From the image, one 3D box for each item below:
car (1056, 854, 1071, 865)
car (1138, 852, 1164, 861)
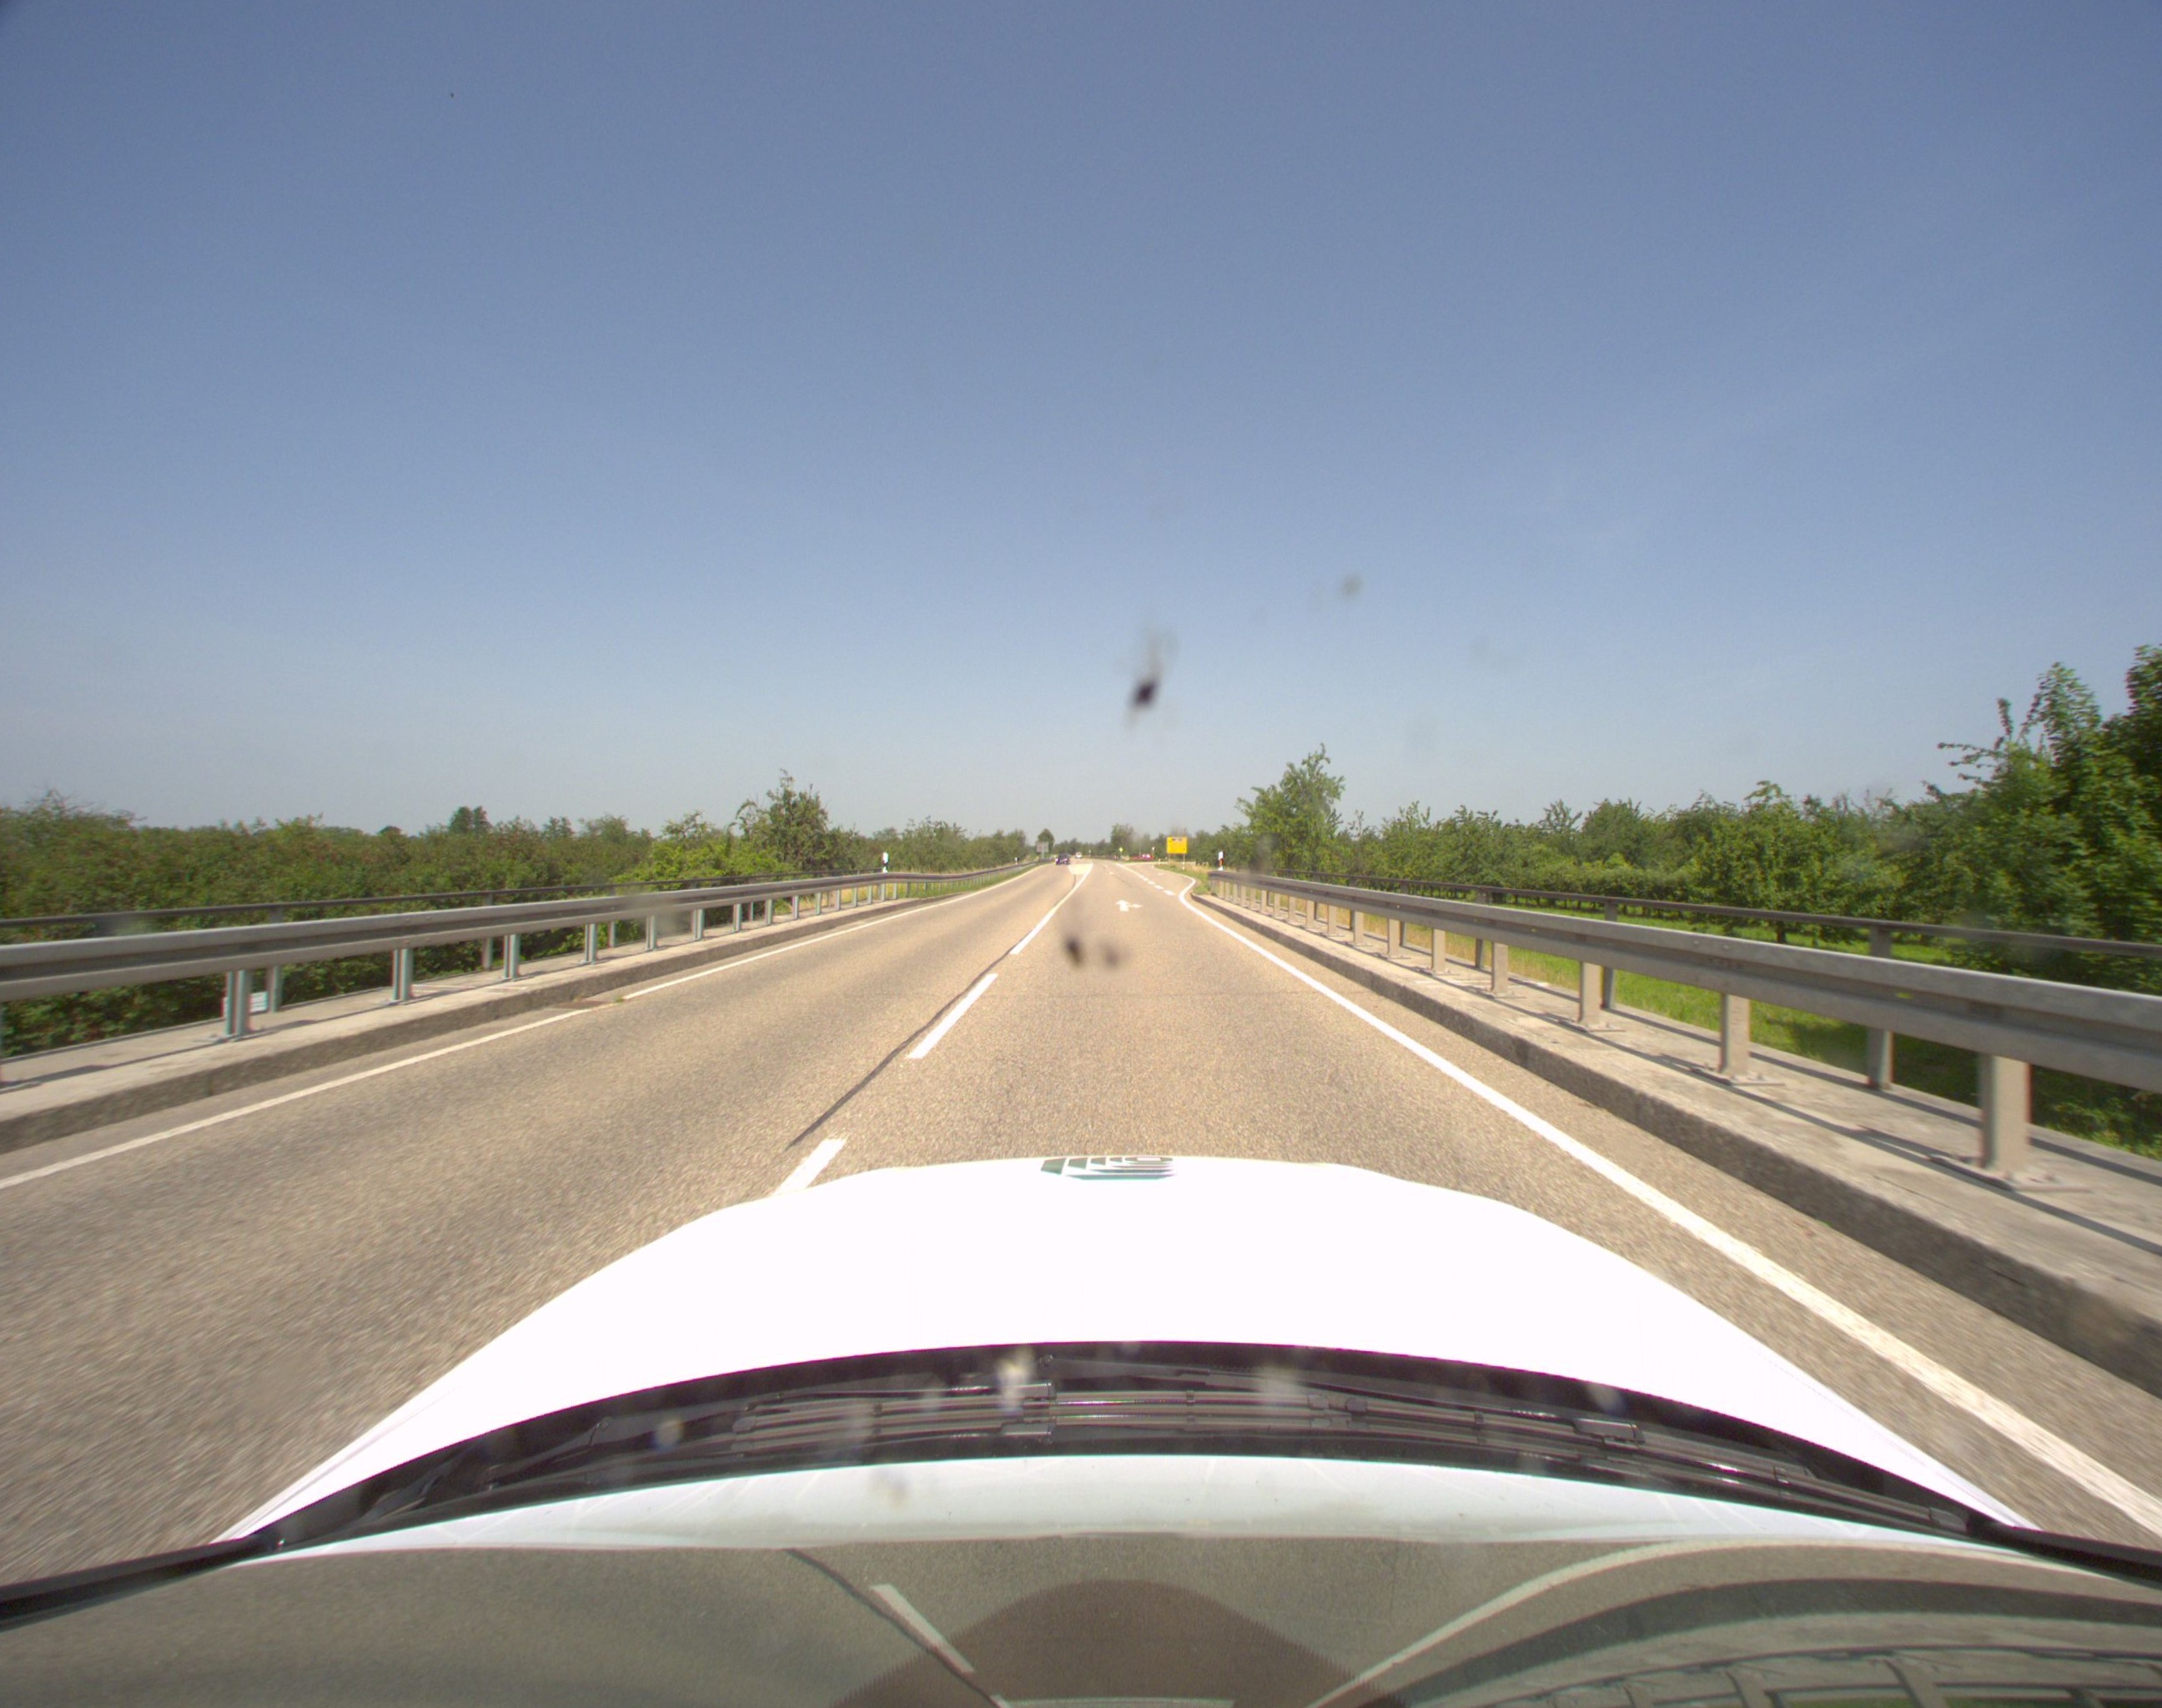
[{"bbox_3d":[-2.640,0.840,122.370,1.796,1.637,4.813,-1,0,3],"label":"car"},{"bbox_3d":[12.275,0.466,143.347,4.459,1.449,1.824,-1,-1,4],"label":"car"}]
